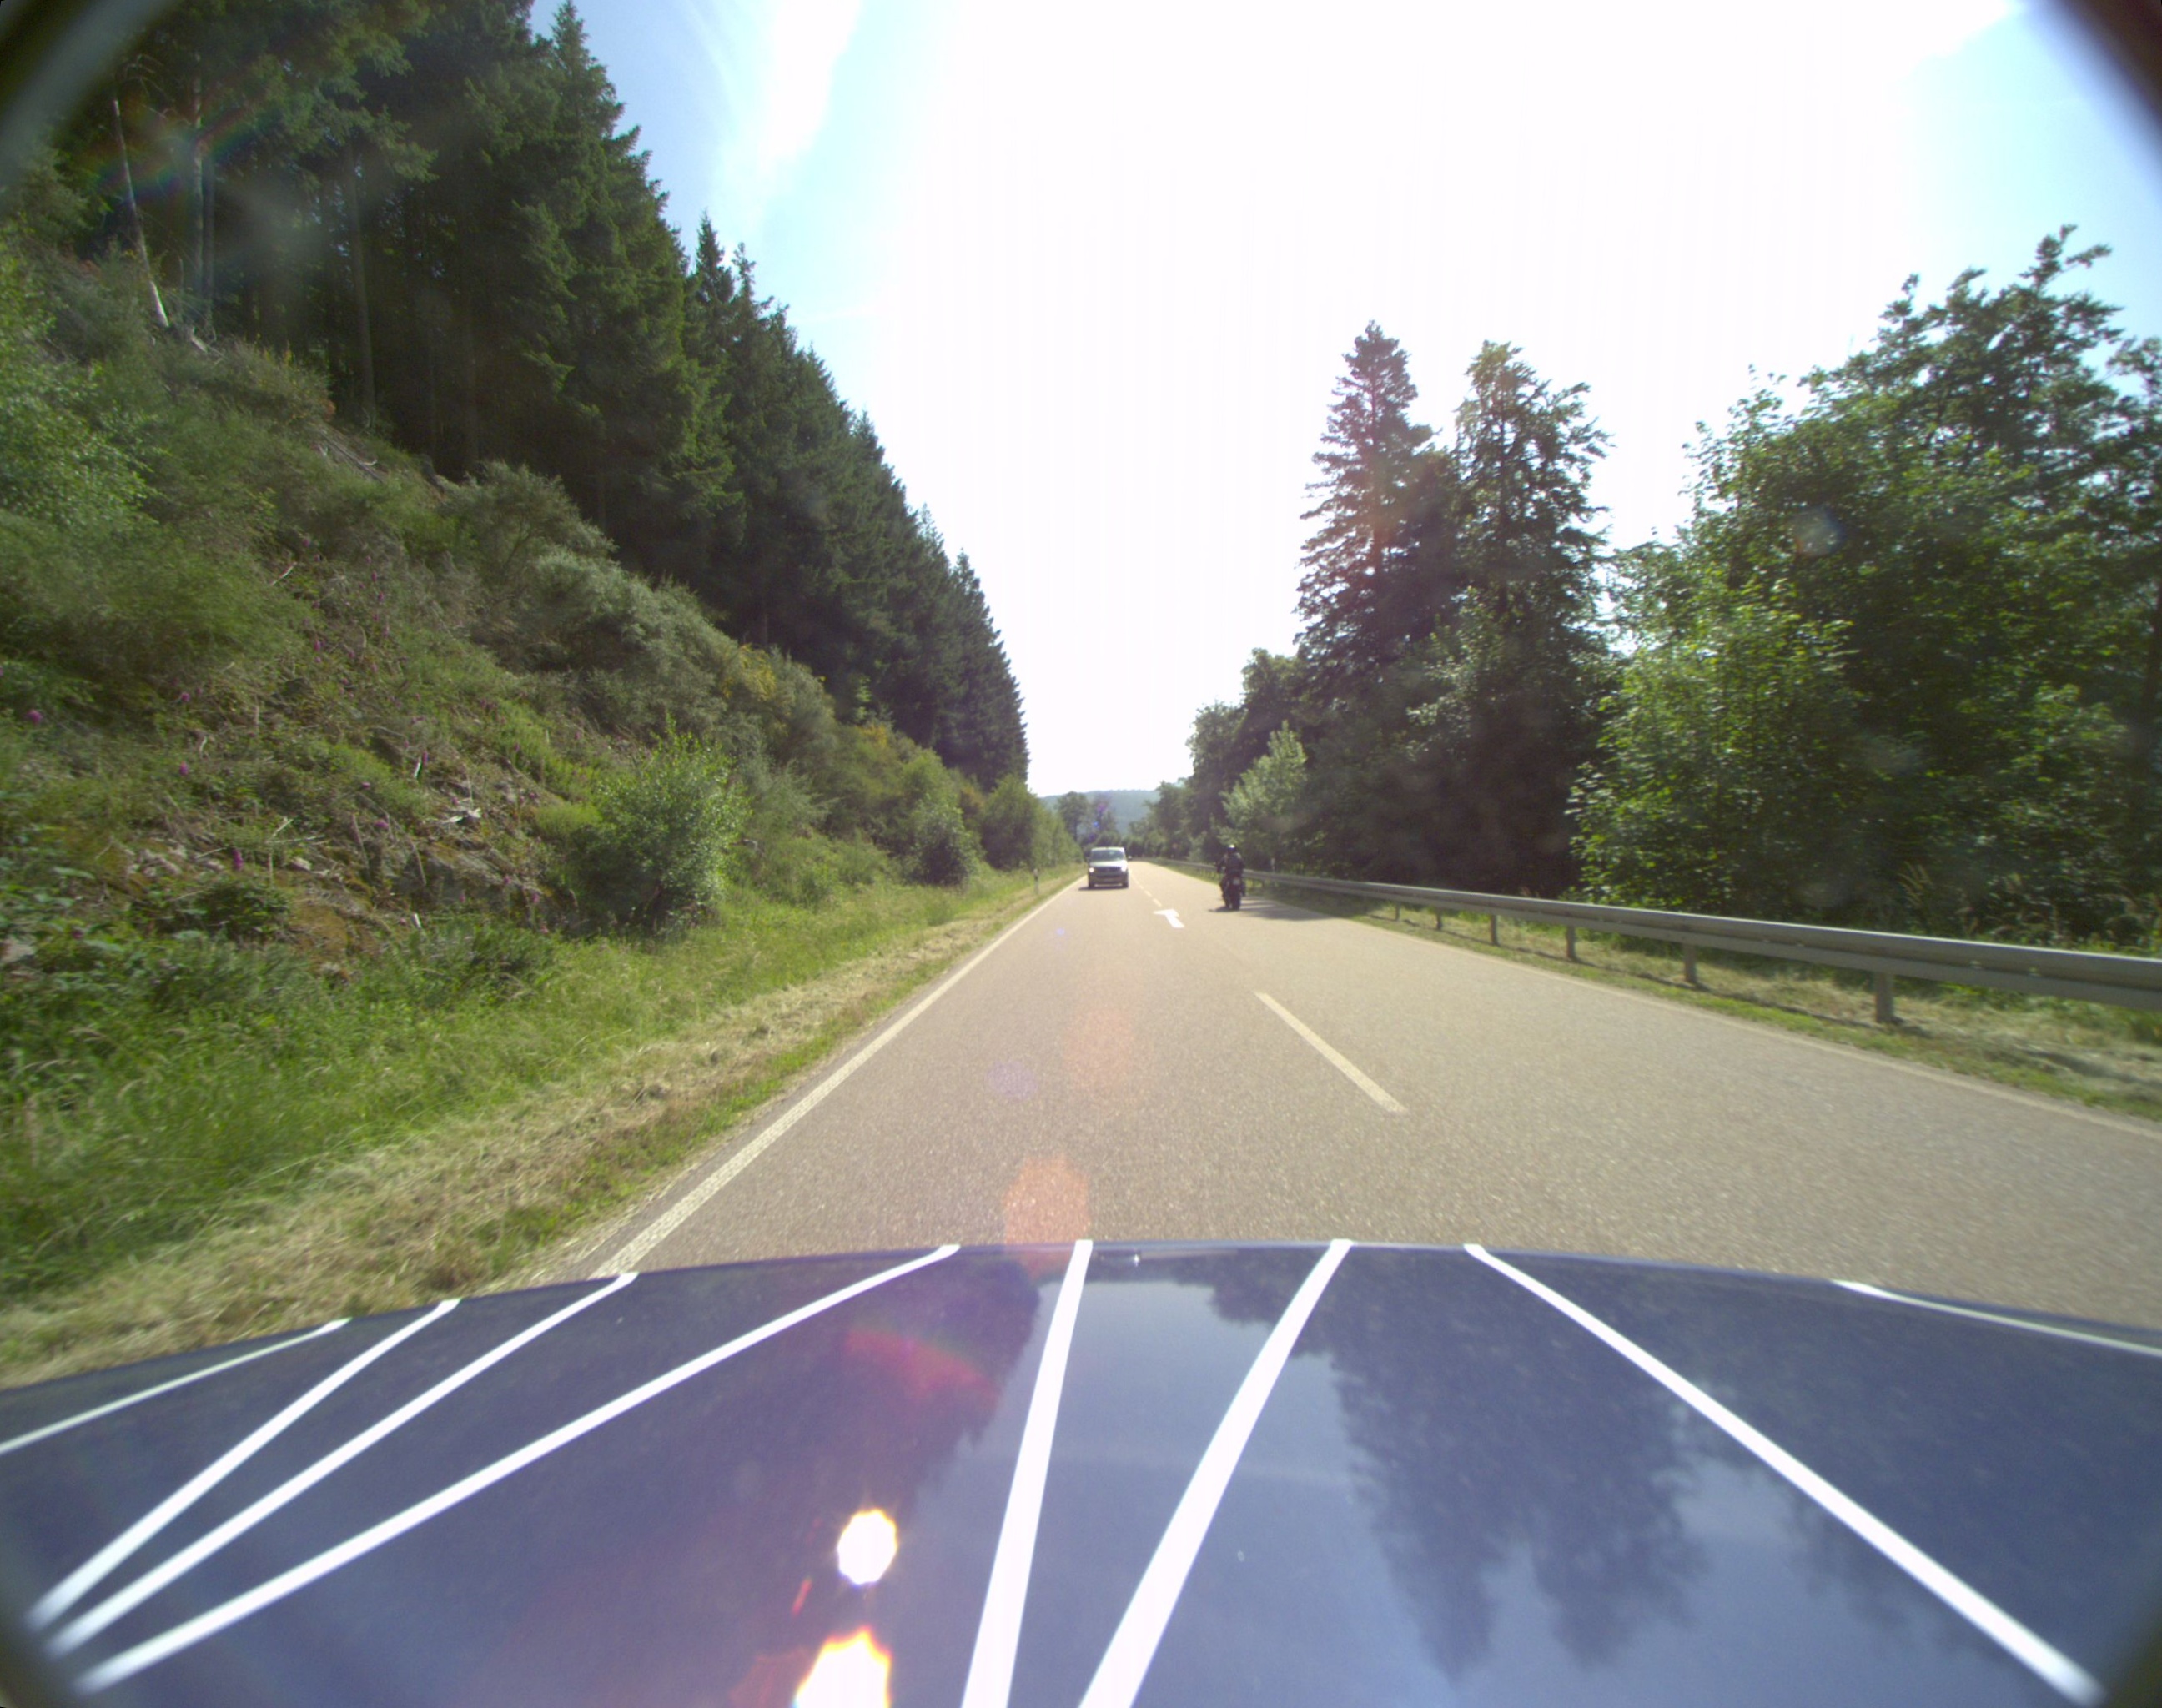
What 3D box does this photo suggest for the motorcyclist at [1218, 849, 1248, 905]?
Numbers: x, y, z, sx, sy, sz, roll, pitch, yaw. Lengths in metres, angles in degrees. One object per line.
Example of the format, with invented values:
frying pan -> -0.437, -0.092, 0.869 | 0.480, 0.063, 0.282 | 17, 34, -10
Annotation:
motorcyclist -> 4.187, 0.634, 21.027 | 0.660, 1.504, 0.934 | -1, 0, 3

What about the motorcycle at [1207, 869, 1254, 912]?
motorcycle -> 4.108, 0.978, 20.976 | 0.987, 1.065, 1.963 | -2, 0, 3

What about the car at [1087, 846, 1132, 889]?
car -> 1.439, 0.596, 36.730 | 1.990, 1.899, 4.761 | -1, 0, 3

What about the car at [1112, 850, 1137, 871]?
car -> 3.888, 0.544, 68.560 | 2.137, 1.825, 4.722 | -1, 0, 1
